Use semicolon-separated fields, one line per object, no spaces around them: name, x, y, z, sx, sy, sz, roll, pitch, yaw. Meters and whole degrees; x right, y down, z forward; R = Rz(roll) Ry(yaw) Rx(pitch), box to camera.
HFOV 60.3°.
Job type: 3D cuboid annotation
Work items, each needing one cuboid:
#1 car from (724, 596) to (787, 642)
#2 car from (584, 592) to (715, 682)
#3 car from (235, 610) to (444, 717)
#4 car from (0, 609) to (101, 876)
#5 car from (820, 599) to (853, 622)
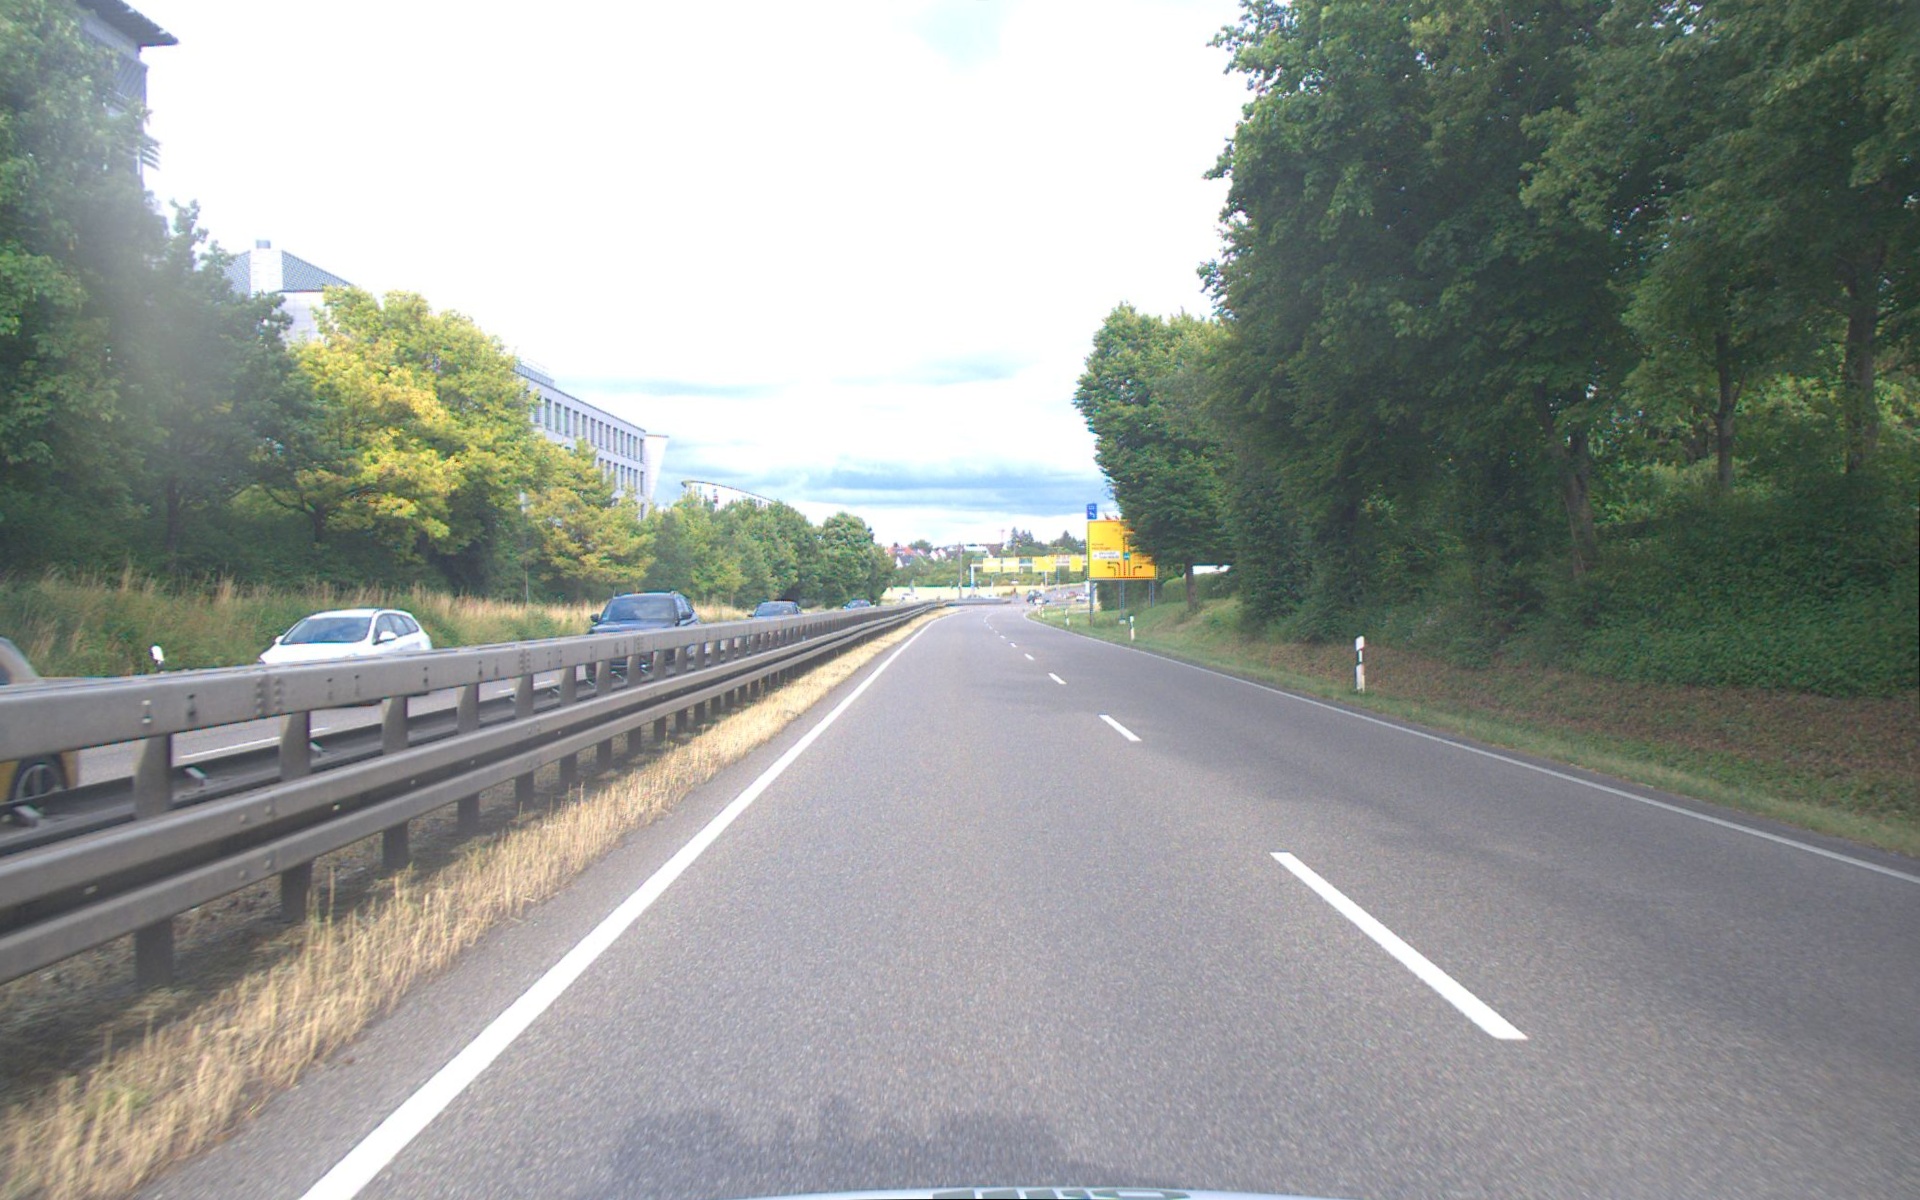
car;-7.220;0.661;58.721;1.707;1.483;4.311;-2;0;-1
car;-6.280;0.703;34.058;1.707;1.673;5.279;-1;0;0
car;-10.029;0.972;27.115;1.780;1.511;4.416;-2;0;-1
car;-6.087;0.801;8.220;1.559;1.473;3.999;-1;0;-1
car;-7.828;0.628;105.366;1.797;1.403;4.565;-1;0;-1
